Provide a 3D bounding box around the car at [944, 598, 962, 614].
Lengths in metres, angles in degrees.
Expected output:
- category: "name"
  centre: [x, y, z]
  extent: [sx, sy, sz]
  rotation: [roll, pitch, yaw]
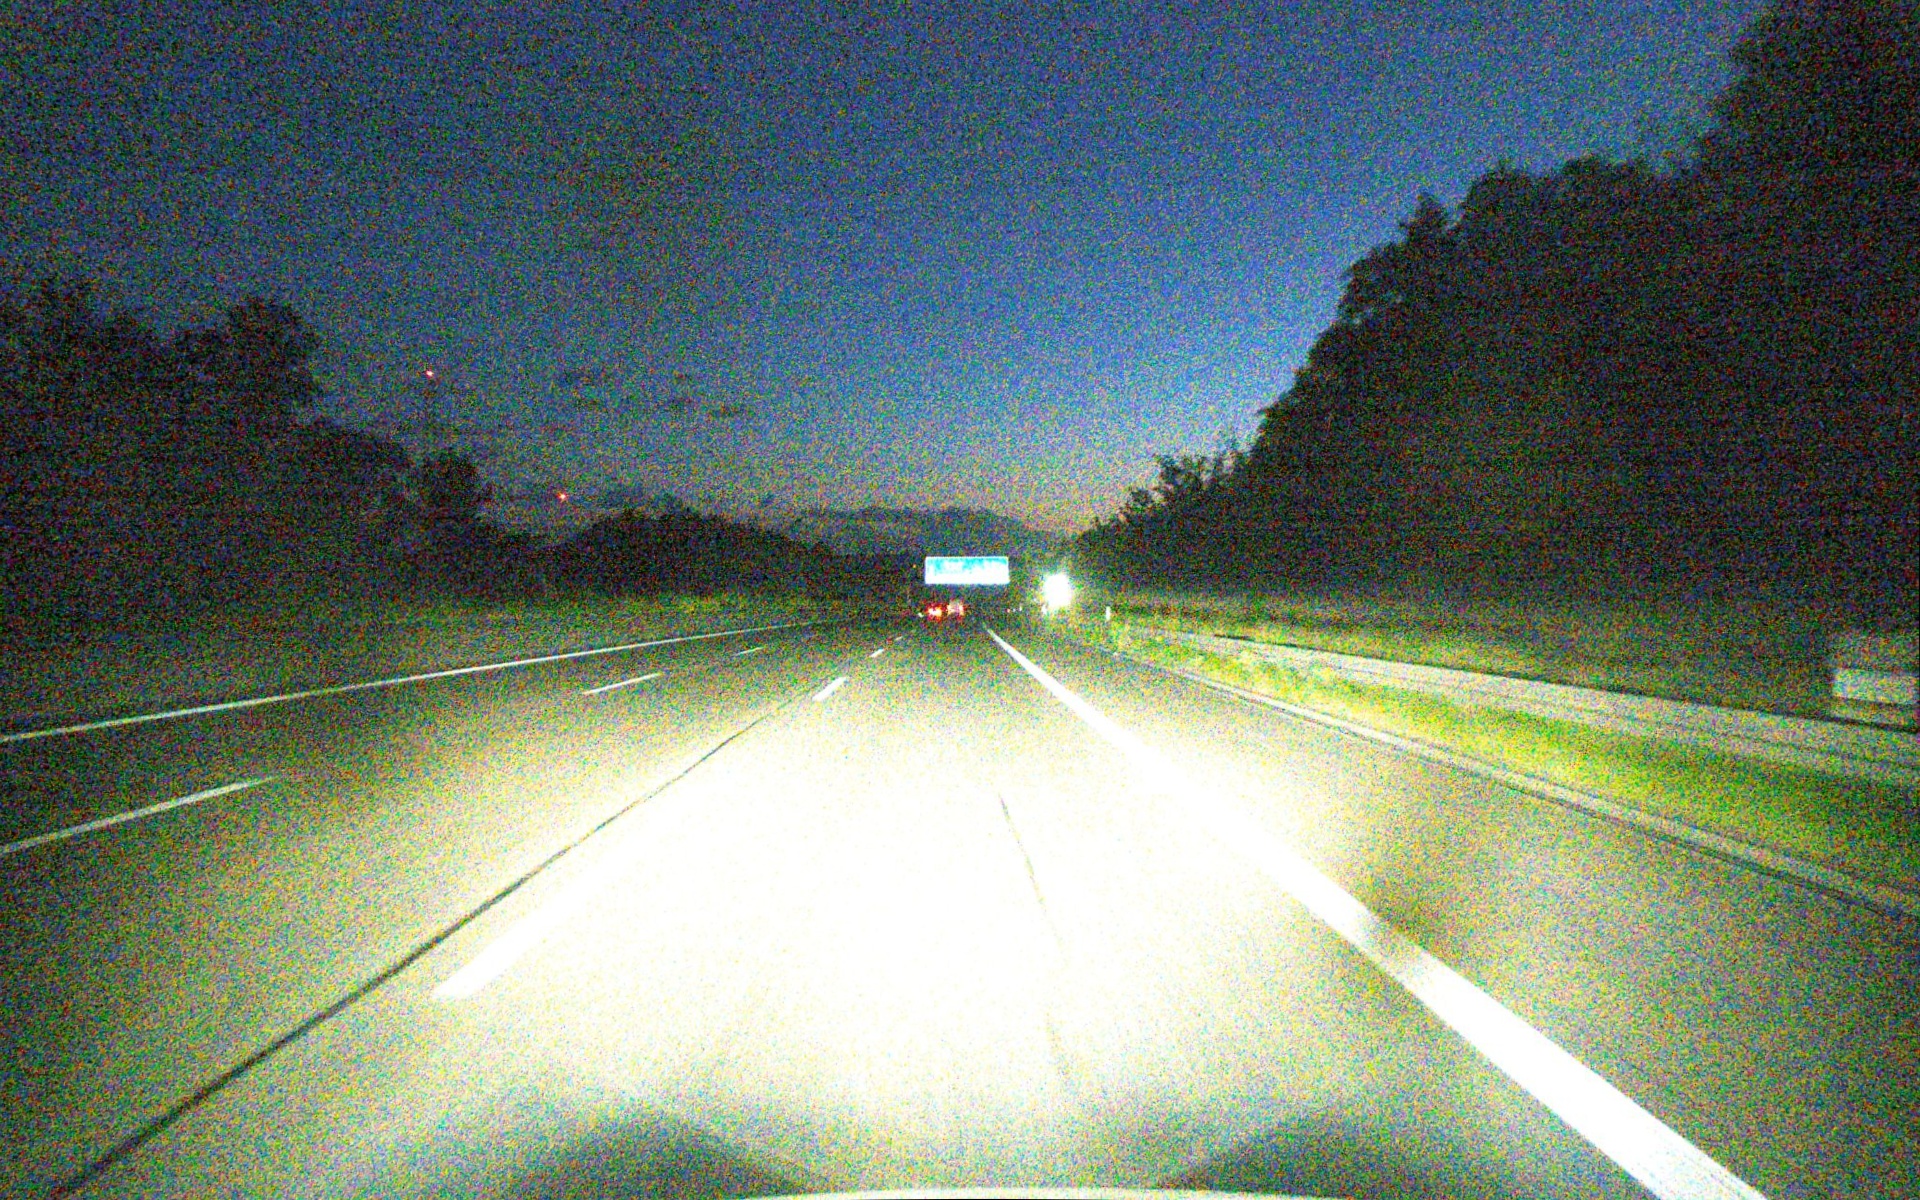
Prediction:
- category: "car"
  centre: [-1.058, 0.988, 251.327]
  extent: [2.458, 2.354, 4.972]
  rotation: [0, -1, 4]
